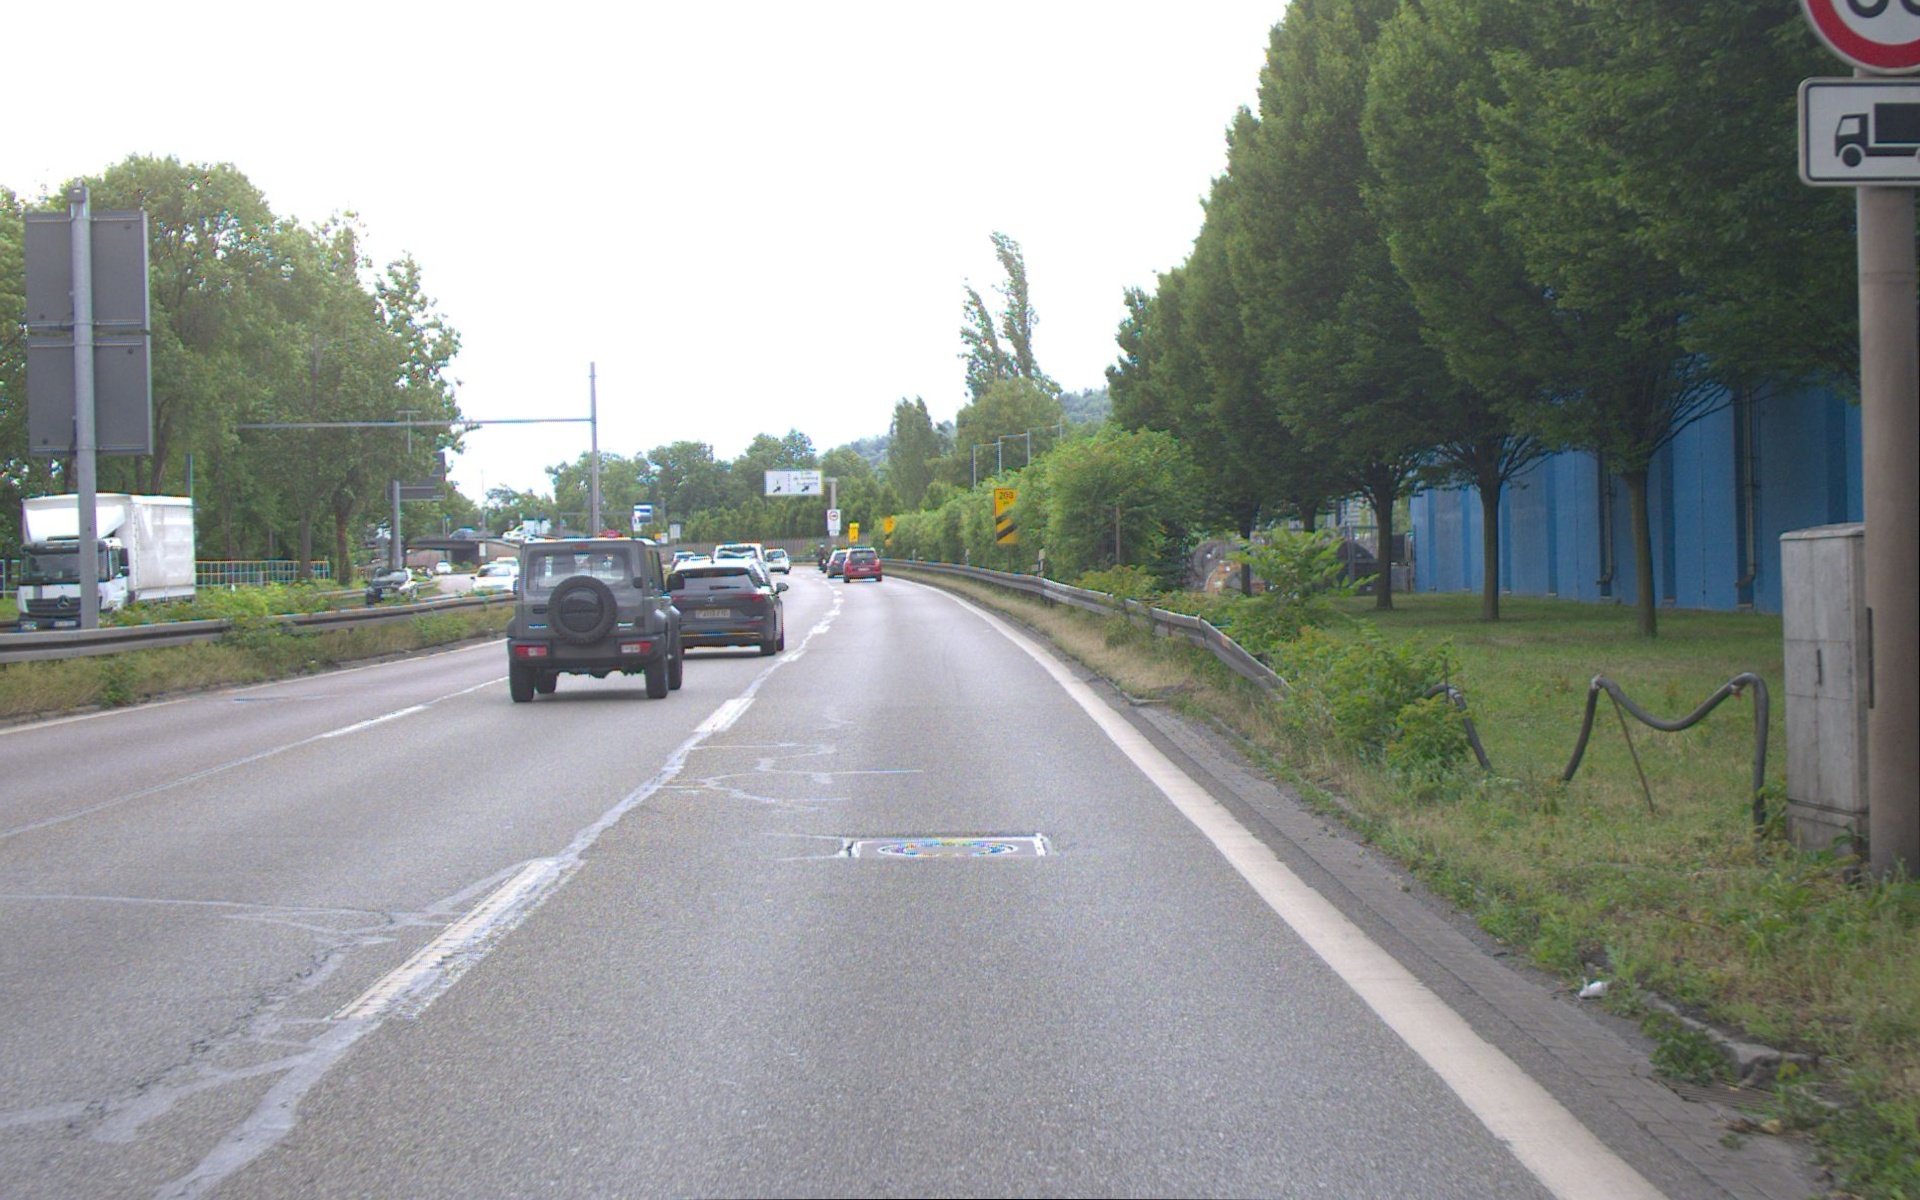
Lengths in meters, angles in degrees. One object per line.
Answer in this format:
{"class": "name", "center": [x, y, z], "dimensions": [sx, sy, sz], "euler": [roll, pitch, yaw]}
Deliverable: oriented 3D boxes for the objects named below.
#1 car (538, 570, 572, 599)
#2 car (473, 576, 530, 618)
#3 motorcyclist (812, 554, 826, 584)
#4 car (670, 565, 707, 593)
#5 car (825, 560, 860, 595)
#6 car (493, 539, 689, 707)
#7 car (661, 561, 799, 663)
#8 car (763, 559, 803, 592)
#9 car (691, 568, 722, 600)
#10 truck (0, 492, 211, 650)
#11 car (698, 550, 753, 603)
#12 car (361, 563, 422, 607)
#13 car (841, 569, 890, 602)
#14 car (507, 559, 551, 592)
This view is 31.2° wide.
{"class": "car", "center": [-25.852, -1.006, 219.487], "dimensions": [1.726, 1.769, 3.742], "euler": [-2, 0, -1]}
{"class": "car", "center": [-19.038, -0.128, 142.879], "dimensions": [1.697, 1.599, 4.538], "euler": [-4, 1, -1]}
{"class": "motorcyclist", "center": [-8.455, -1.842, 205.656], "dimensions": [0.791, 1.754, 0.923], "euler": [-1, 1, -3]}
{"class": "car", "center": [-19.454, -1.478, 246.153], "dimensions": [2.013, 1.927, 4.902], "euler": [-3, 0, -11]}
{"class": "car", "center": [-6.040, -1.156, 176.742], "dimensions": [1.697, 1.736, 4.393], "euler": [-2, 0, -2]}
{"class": "car", "center": [-3.910, 0.200, 36.950], "dimensions": [1.697, 1.680, 4.000], "euler": [-1, 1, -1]}
{"class": "car", "center": [-3.388, 0.145, 51.369], "dimensions": [1.845, 1.418, 4.901], "euler": [-1, 0, -2]}
{"class": "car", "center": [-10.853, -1.481, 210.524], "dimensions": [2.013, 1.927, 4.901], "euler": [-3, 0, -8]}
{"class": "car", "center": [-14.905, -0.946, 202.237], "dimensions": [1.697, 1.736, 4.394], "euler": [-3, 1, -4]}
{"class": "truck", "center": [-20.929, -0.703, 84.541], "dimensions": [2.889, 3.566, 9.587], "euler": [-2, 0, -1]}
{"class": "car", "center": [-8.076, -0.828, 118.711], "dimensions": [1.697, 1.736, 4.000], "euler": [-1, 1, -2]}
{"class": "car", "center": [-22.691, -0.610, 137.269], "dimensions": [1.726, 1.599, 4.042], "euler": [-4, 1, -1]}
{"class": "car", "center": [-4.286, -0.664, 155.330], "dimensions": [1.974, 1.418, 4.901], "euler": [-2, 0, -4]}
{"class": "car", "center": [-23.139, -1.322, 184.575], "dimensions": [1.866, 1.669, 4.719], "euler": [-3, 1, -2]}
